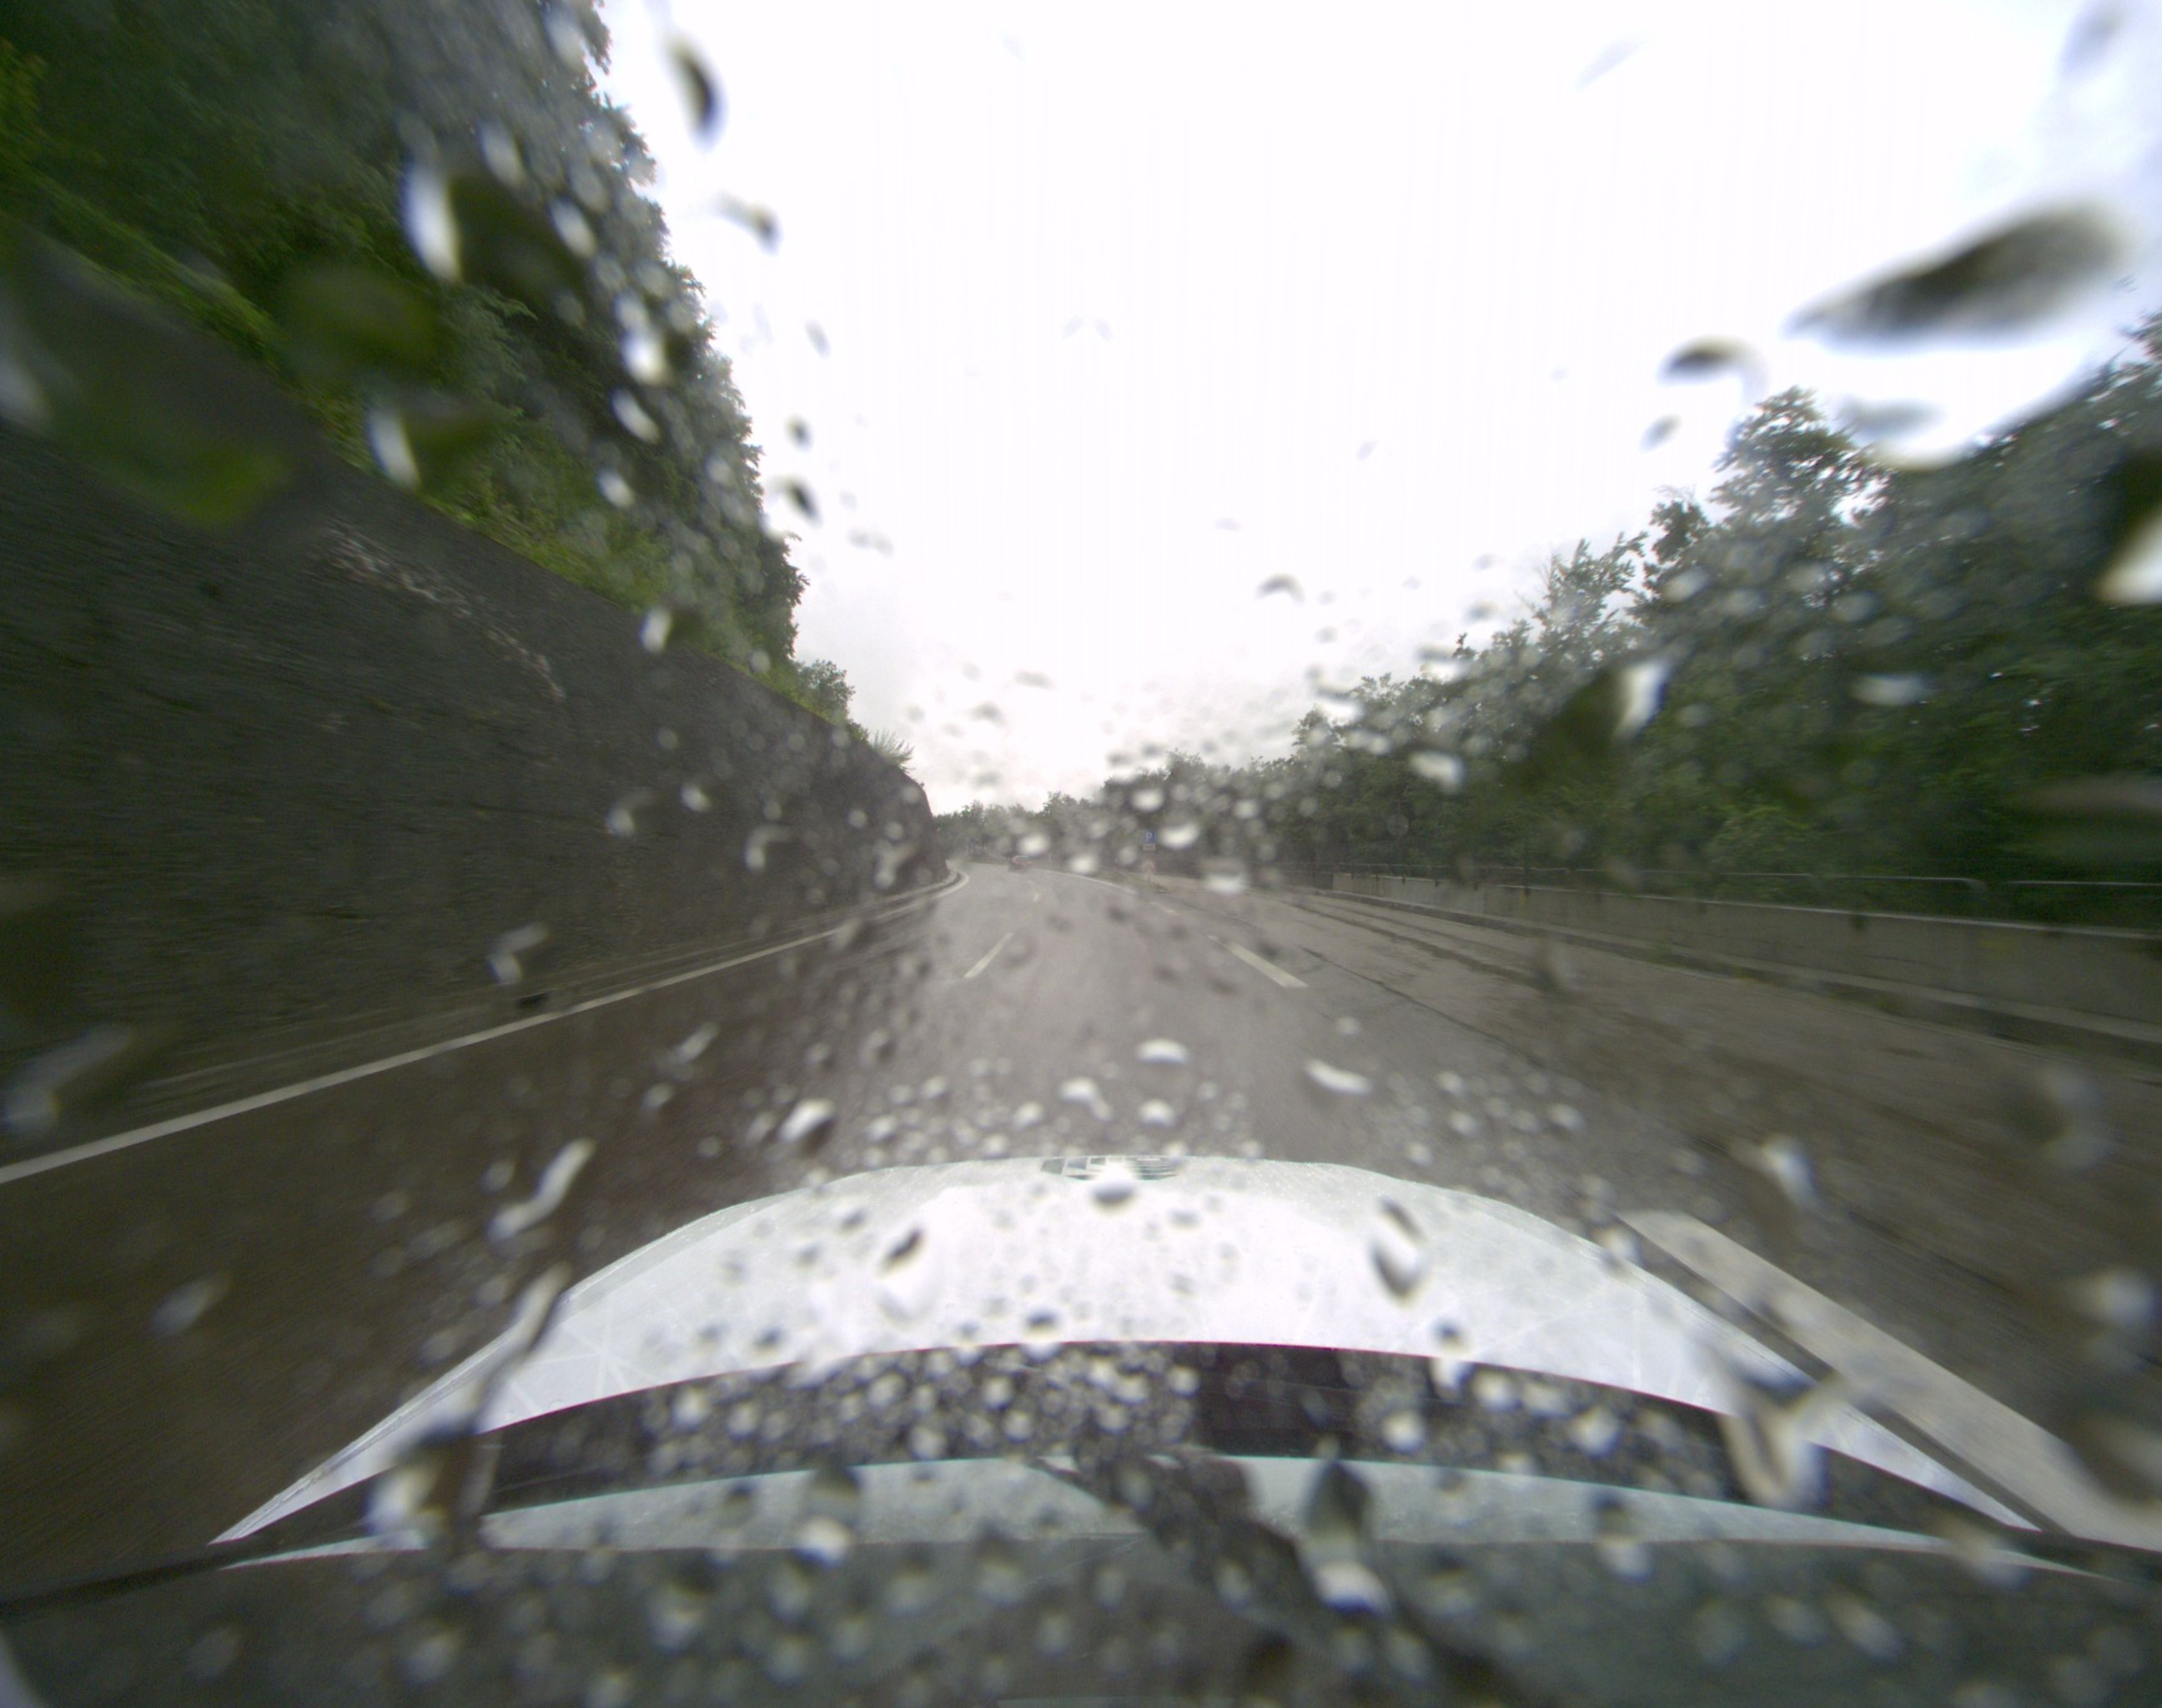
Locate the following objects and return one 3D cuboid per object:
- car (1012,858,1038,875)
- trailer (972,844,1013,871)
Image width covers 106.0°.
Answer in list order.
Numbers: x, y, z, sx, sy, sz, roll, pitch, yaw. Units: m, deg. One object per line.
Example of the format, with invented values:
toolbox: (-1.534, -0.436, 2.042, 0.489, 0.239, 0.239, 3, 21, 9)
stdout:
car: (-5.313, 1.138, 76.450, 1.905, 1.499, 3.984, 2, -1, -12)
trailer: (-14.836, 0.592, 135.476, 2.904, 4.245, 14.587, 1, 0, -22)
